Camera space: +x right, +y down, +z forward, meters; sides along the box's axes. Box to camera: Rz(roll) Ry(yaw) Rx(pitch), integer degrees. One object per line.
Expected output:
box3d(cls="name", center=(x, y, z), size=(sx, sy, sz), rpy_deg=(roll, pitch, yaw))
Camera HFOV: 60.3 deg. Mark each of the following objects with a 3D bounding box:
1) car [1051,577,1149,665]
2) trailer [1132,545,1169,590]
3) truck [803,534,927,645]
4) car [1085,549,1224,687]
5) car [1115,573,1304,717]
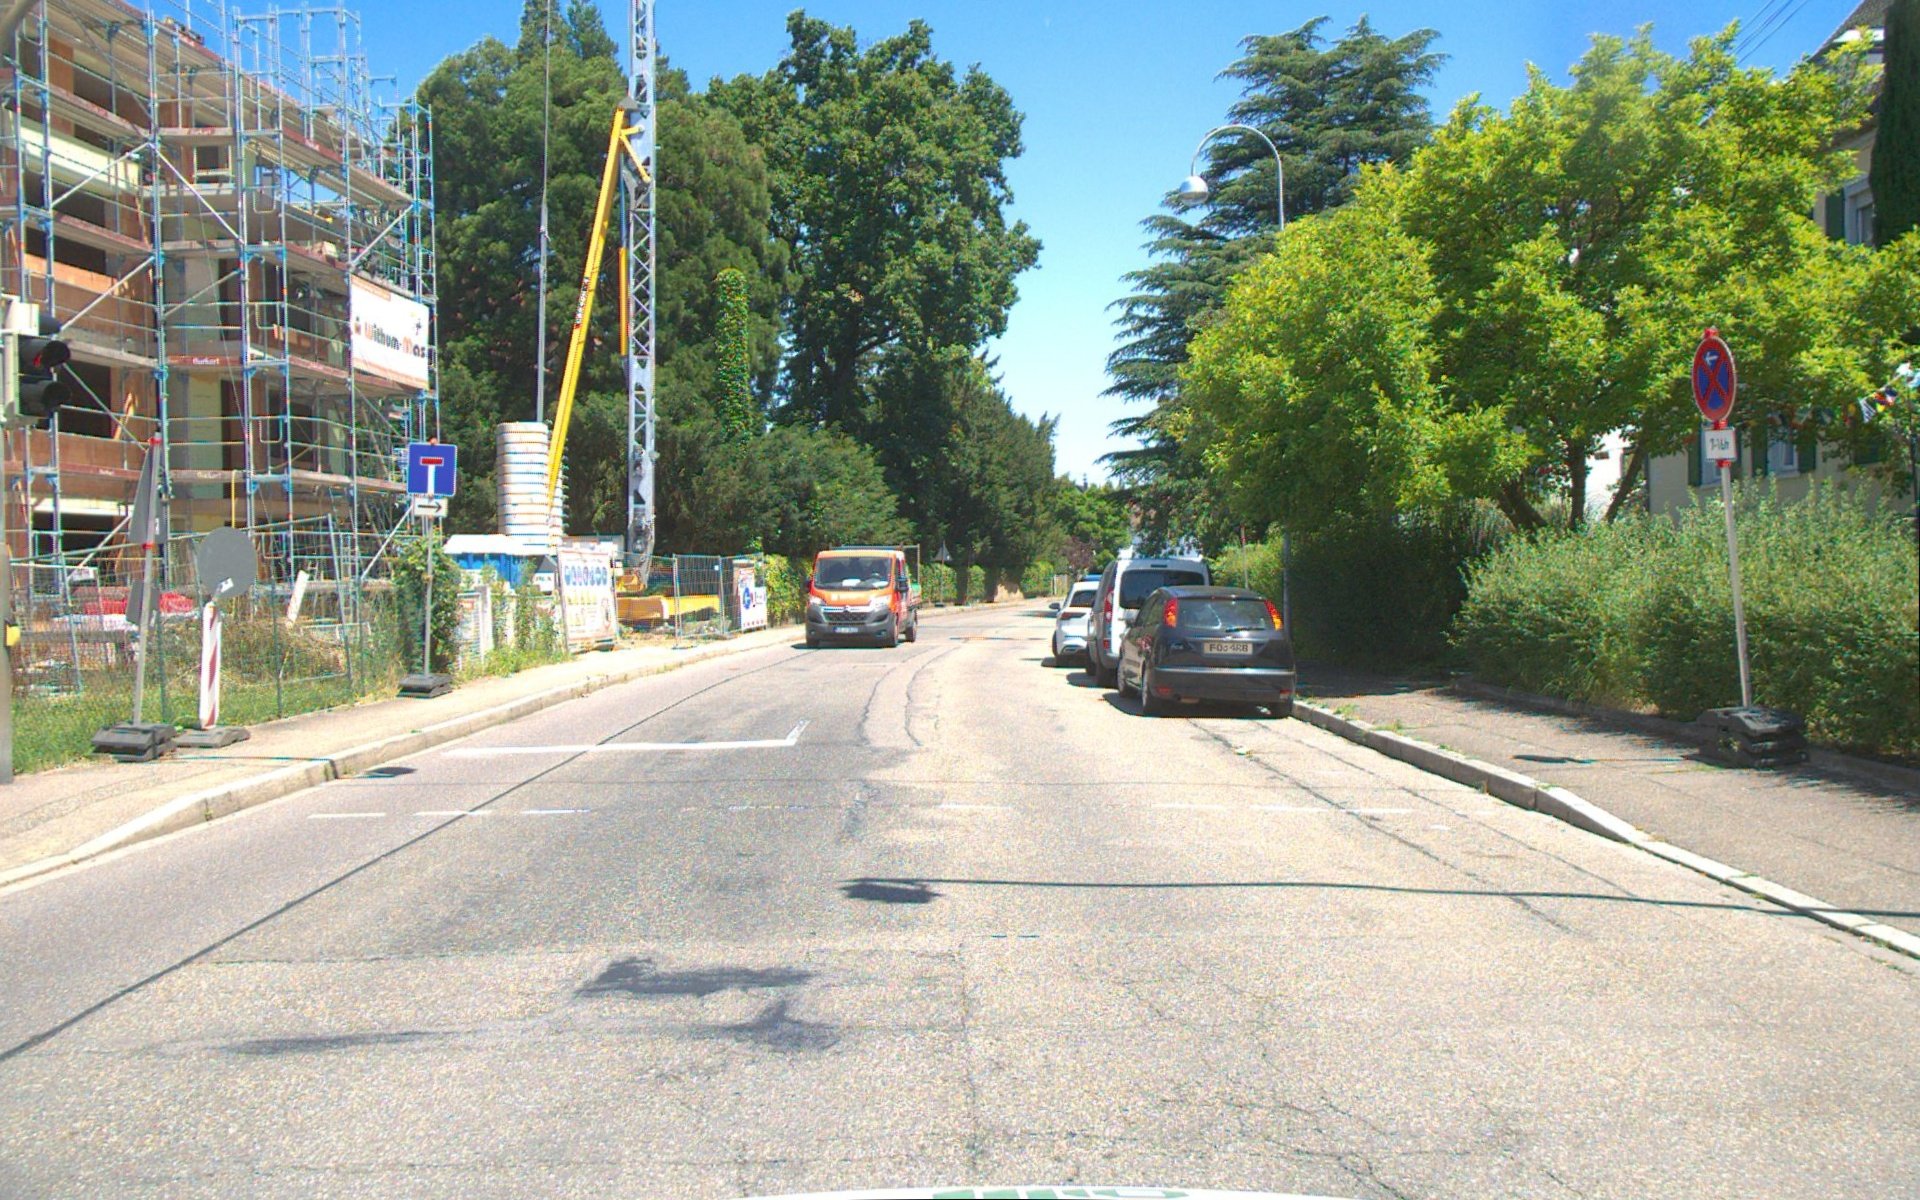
box3d(cls="car", center=(2.487, 0.332, 29.967), size=(1.627, 1.460, 4.131), rpy_deg=(1, 1, 4))
box3d(cls="trailer", center=(9.141, -1.565, 79.279), size=(1.644, 2.104, 3.712), rpy_deg=(1, 1, 8))
box3d(cls="truck", center=(-2.122, -0.281, 38.951), size=(2.083, 2.379, 6.438), rpy_deg=(0, 1, 4))
box3d(cls="car", center=(2.811, 0.222, 24.663), size=(1.627, 1.834, 4.204), rpy_deg=(2, 1, 2))
box3d(cls="car", center=(2.872, 0.462, 19.802), size=(1.595, 1.488, 4.016), rpy_deg=(2, 1, 0))
